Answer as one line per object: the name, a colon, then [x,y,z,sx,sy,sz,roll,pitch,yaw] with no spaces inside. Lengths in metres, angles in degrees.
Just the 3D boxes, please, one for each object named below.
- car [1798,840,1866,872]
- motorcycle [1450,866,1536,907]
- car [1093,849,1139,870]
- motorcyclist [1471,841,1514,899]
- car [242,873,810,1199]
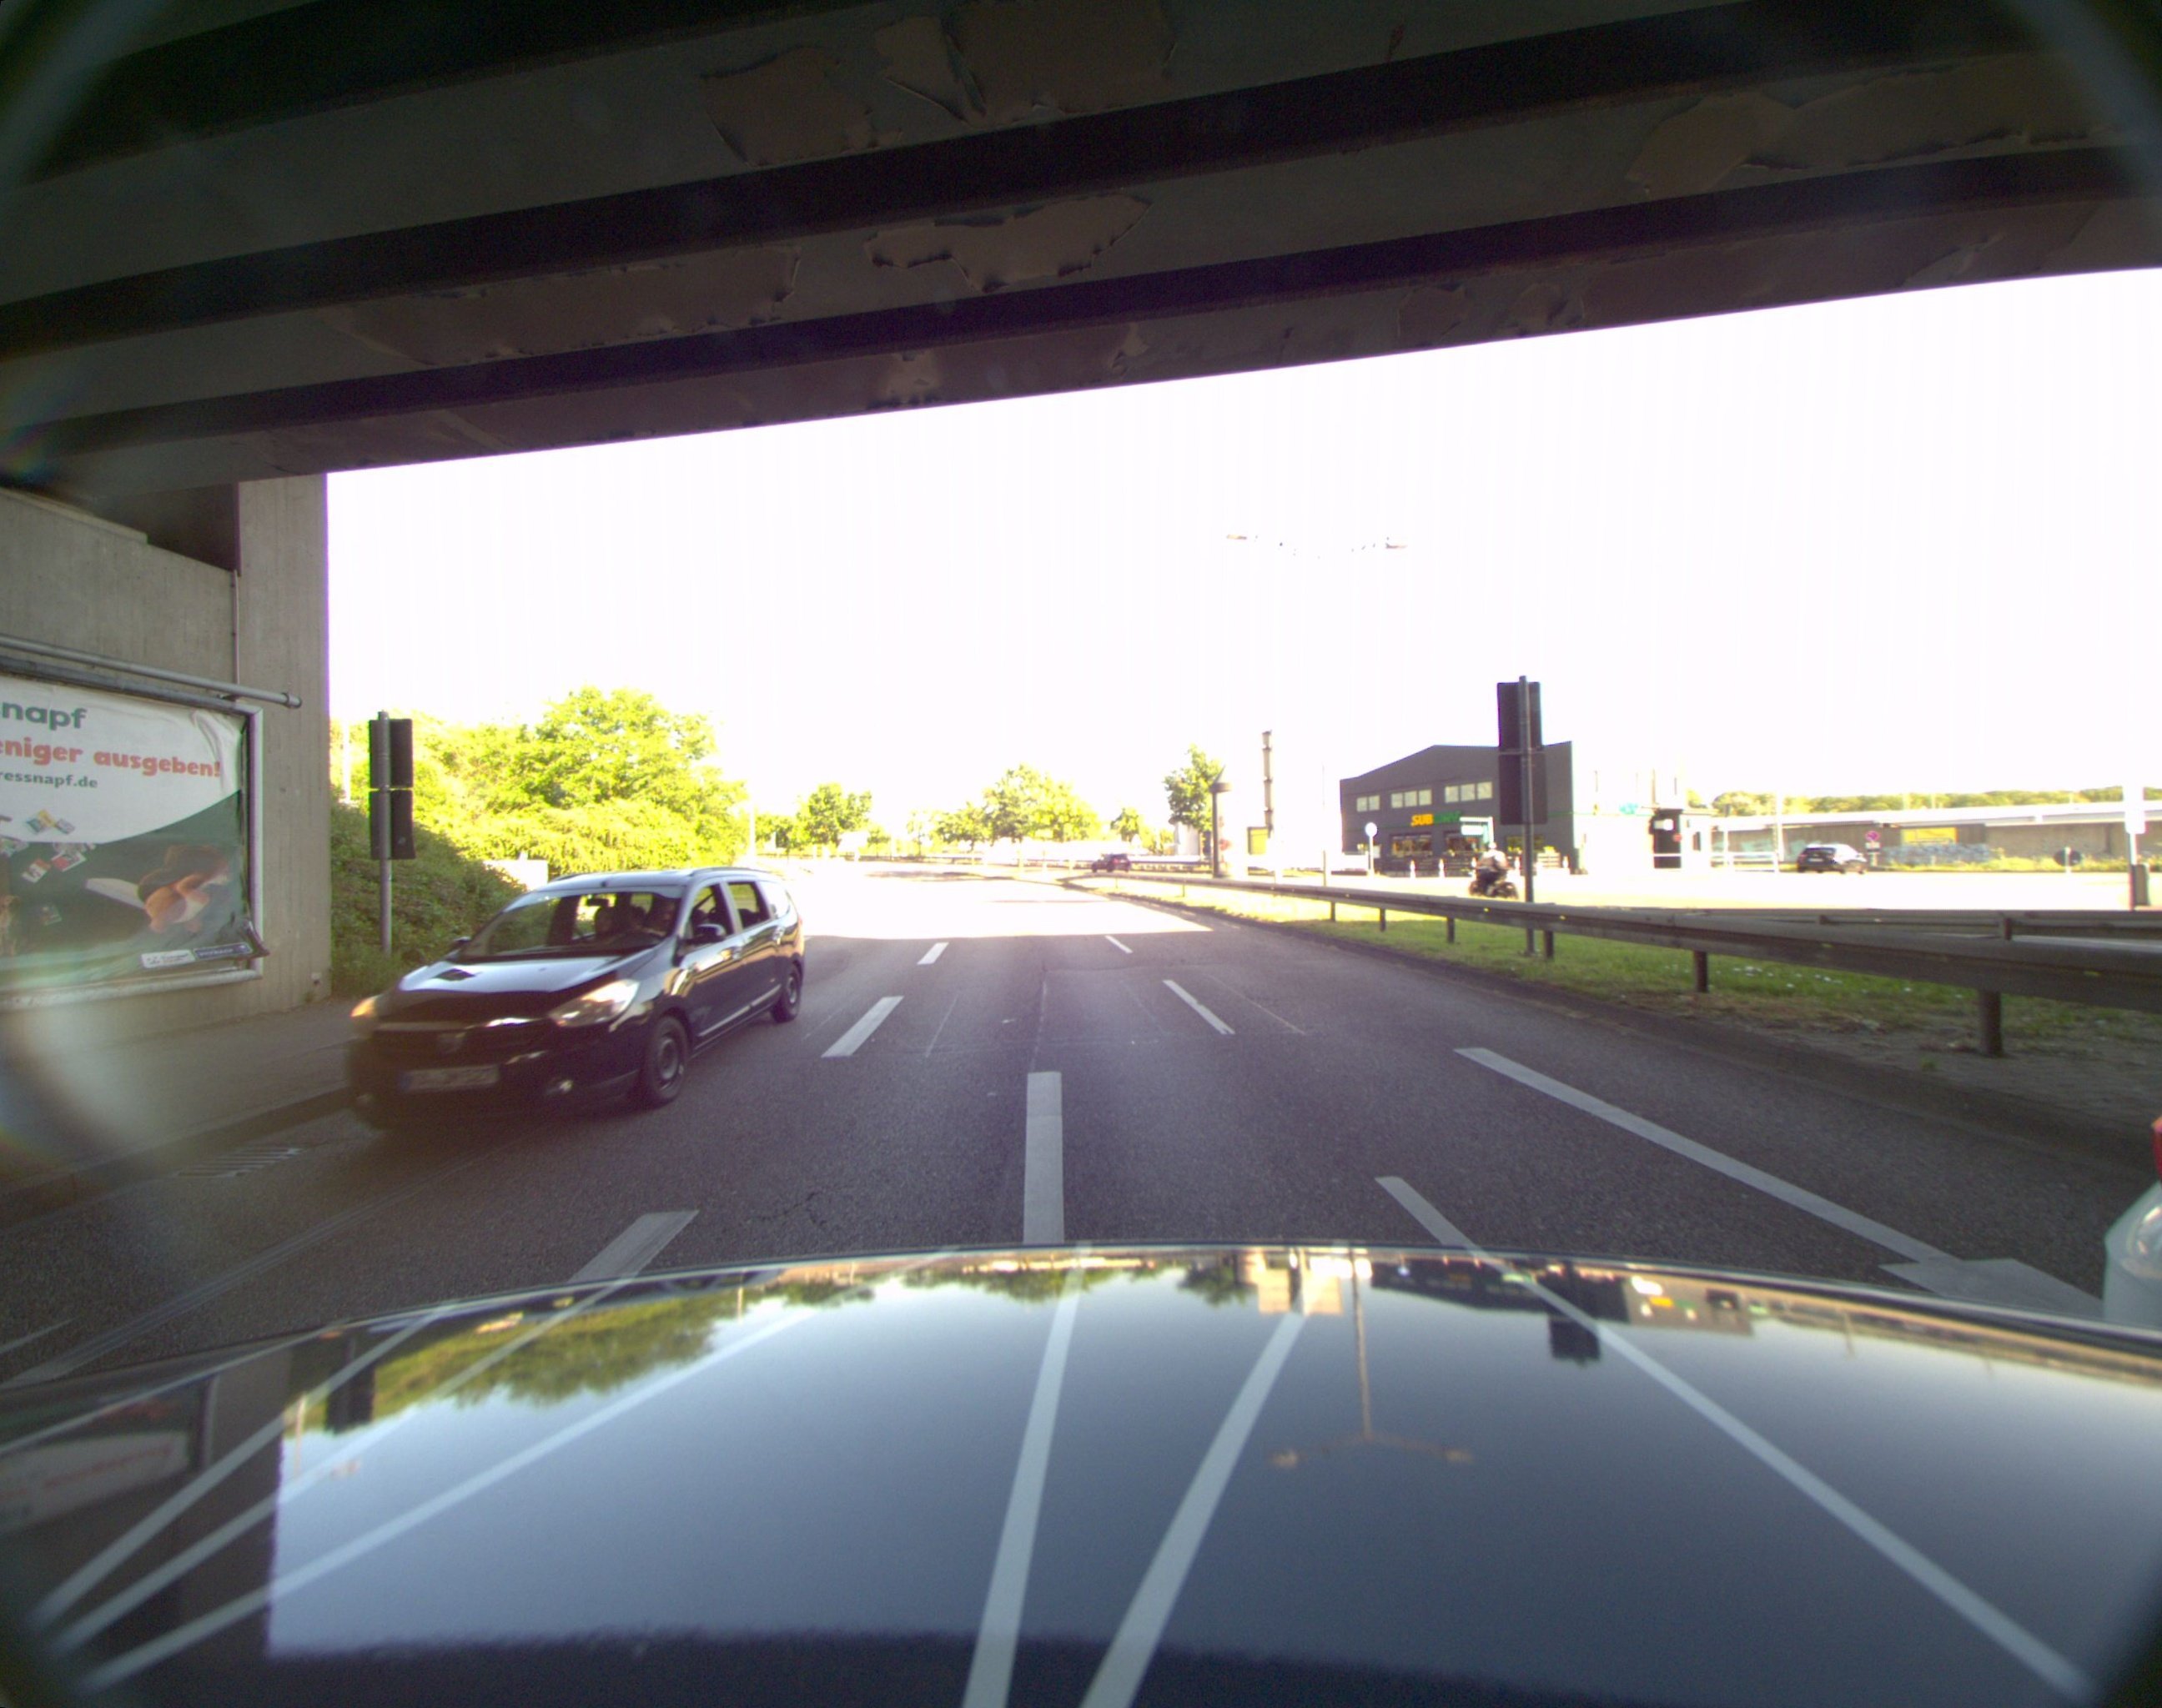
car: [38.431,0.092,38.874,4.007,1.434,1.878,-3,1,-37]
motorcycle: [11.097,0.860,20.548,0.696,1.021,2.005,-2,0,-25]
car: [2.825,0.471,62.332,1.859,1.607,4.355,-3,1,-25]
motorcyclist: [11.109,0.428,20.519,0.699,1.518,0.697,-2,0,-25]
car: [-3.803,1.061,6.293,1.779,1.591,4.103,-3,1,-3]
